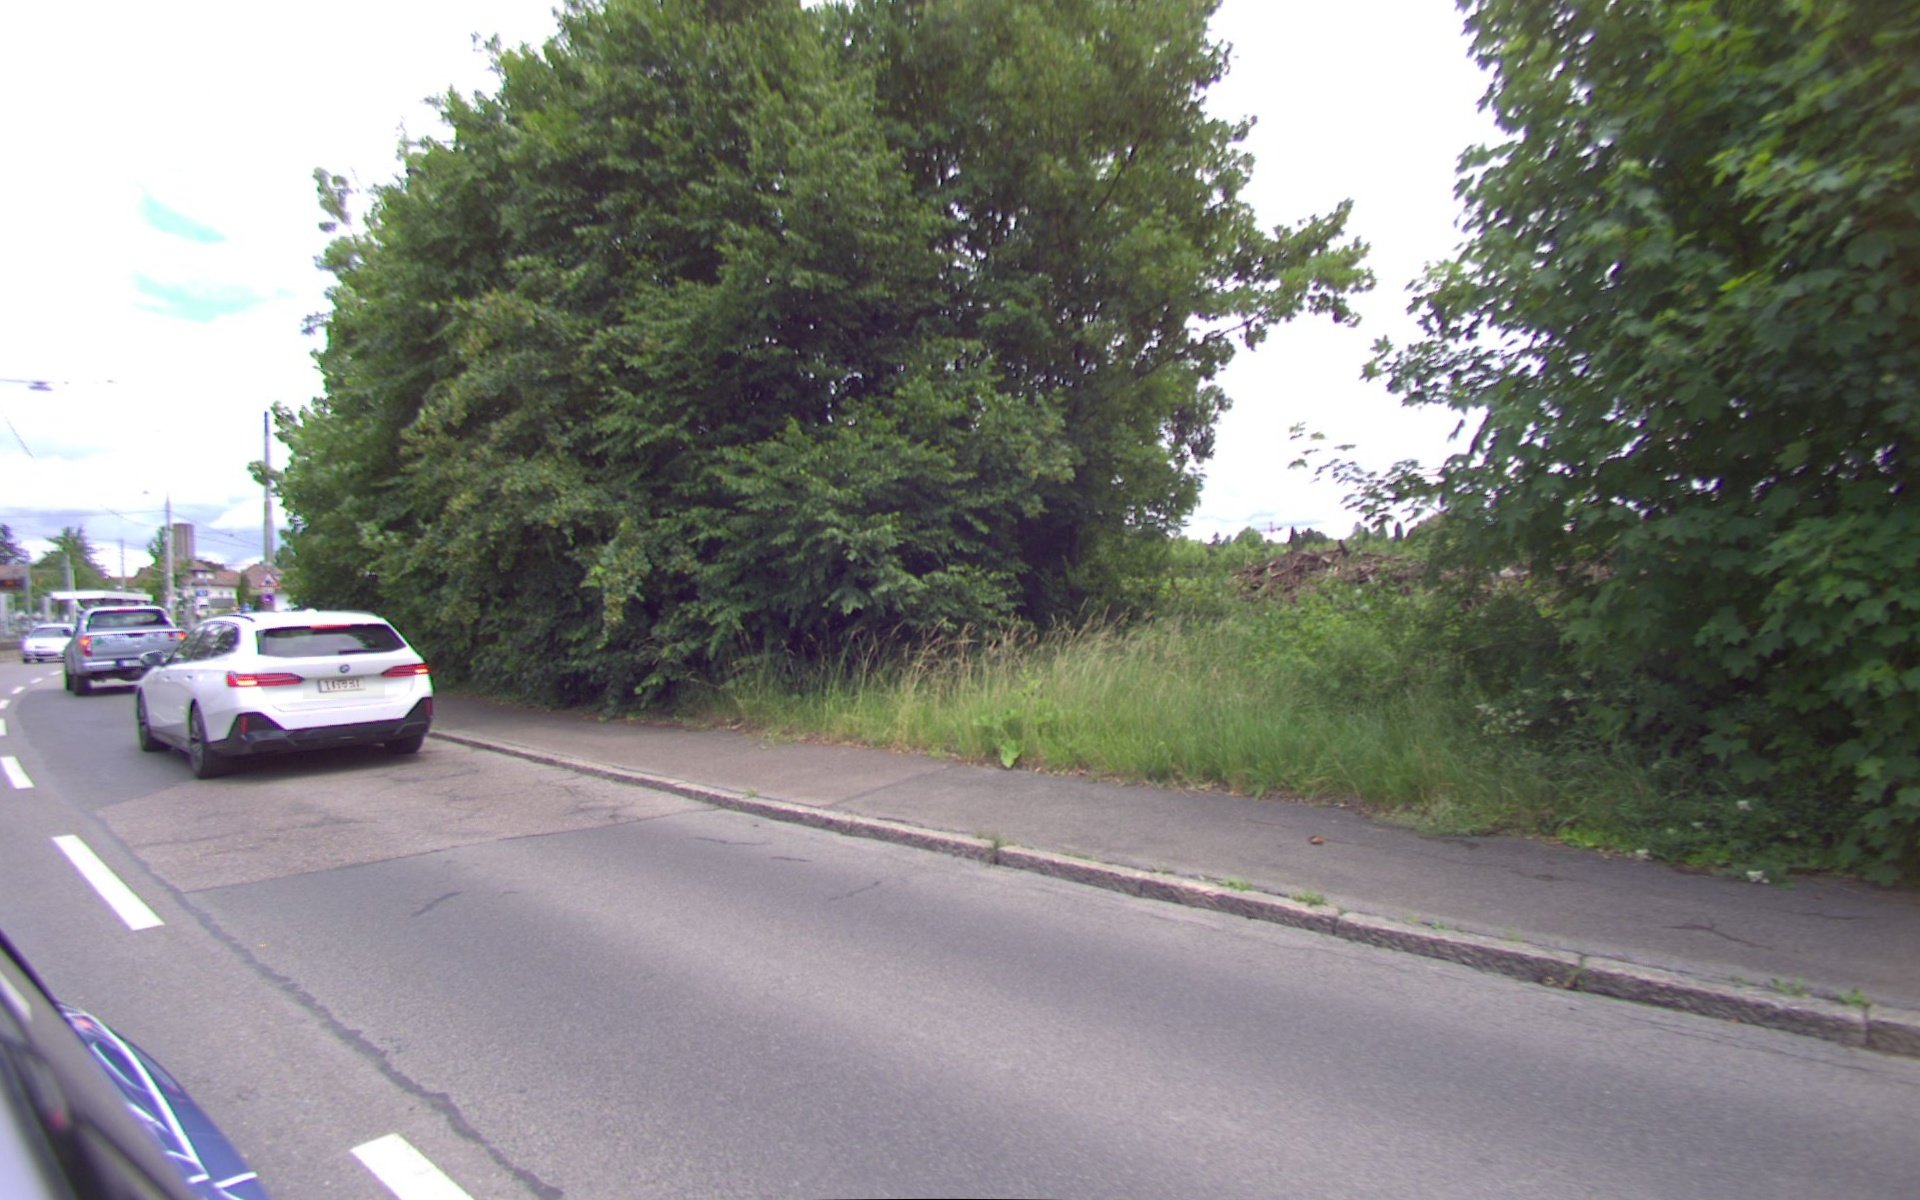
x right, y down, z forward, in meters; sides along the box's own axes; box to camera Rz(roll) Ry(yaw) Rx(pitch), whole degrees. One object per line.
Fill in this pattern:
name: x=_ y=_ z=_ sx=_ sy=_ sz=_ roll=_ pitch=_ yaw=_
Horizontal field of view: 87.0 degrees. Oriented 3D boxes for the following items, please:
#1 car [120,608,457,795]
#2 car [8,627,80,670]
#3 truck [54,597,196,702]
car: x=-7.181 y=0.891 z=10.599 sx=4.659 sy=1.533 sz=1.909 roll=-1 pitch=-2 yaw=43
car: x=-38.934 y=2.024 z=43.088 sx=1.707 sy=1.661 sz=4.236 roll=-3 pitch=0 yaw=-35
truck: x=-18.156 y=1.006 z=21.907 sx=4.960 sy=1.981 sz=1.827 roll=-2 pitch=0 yaw=45
